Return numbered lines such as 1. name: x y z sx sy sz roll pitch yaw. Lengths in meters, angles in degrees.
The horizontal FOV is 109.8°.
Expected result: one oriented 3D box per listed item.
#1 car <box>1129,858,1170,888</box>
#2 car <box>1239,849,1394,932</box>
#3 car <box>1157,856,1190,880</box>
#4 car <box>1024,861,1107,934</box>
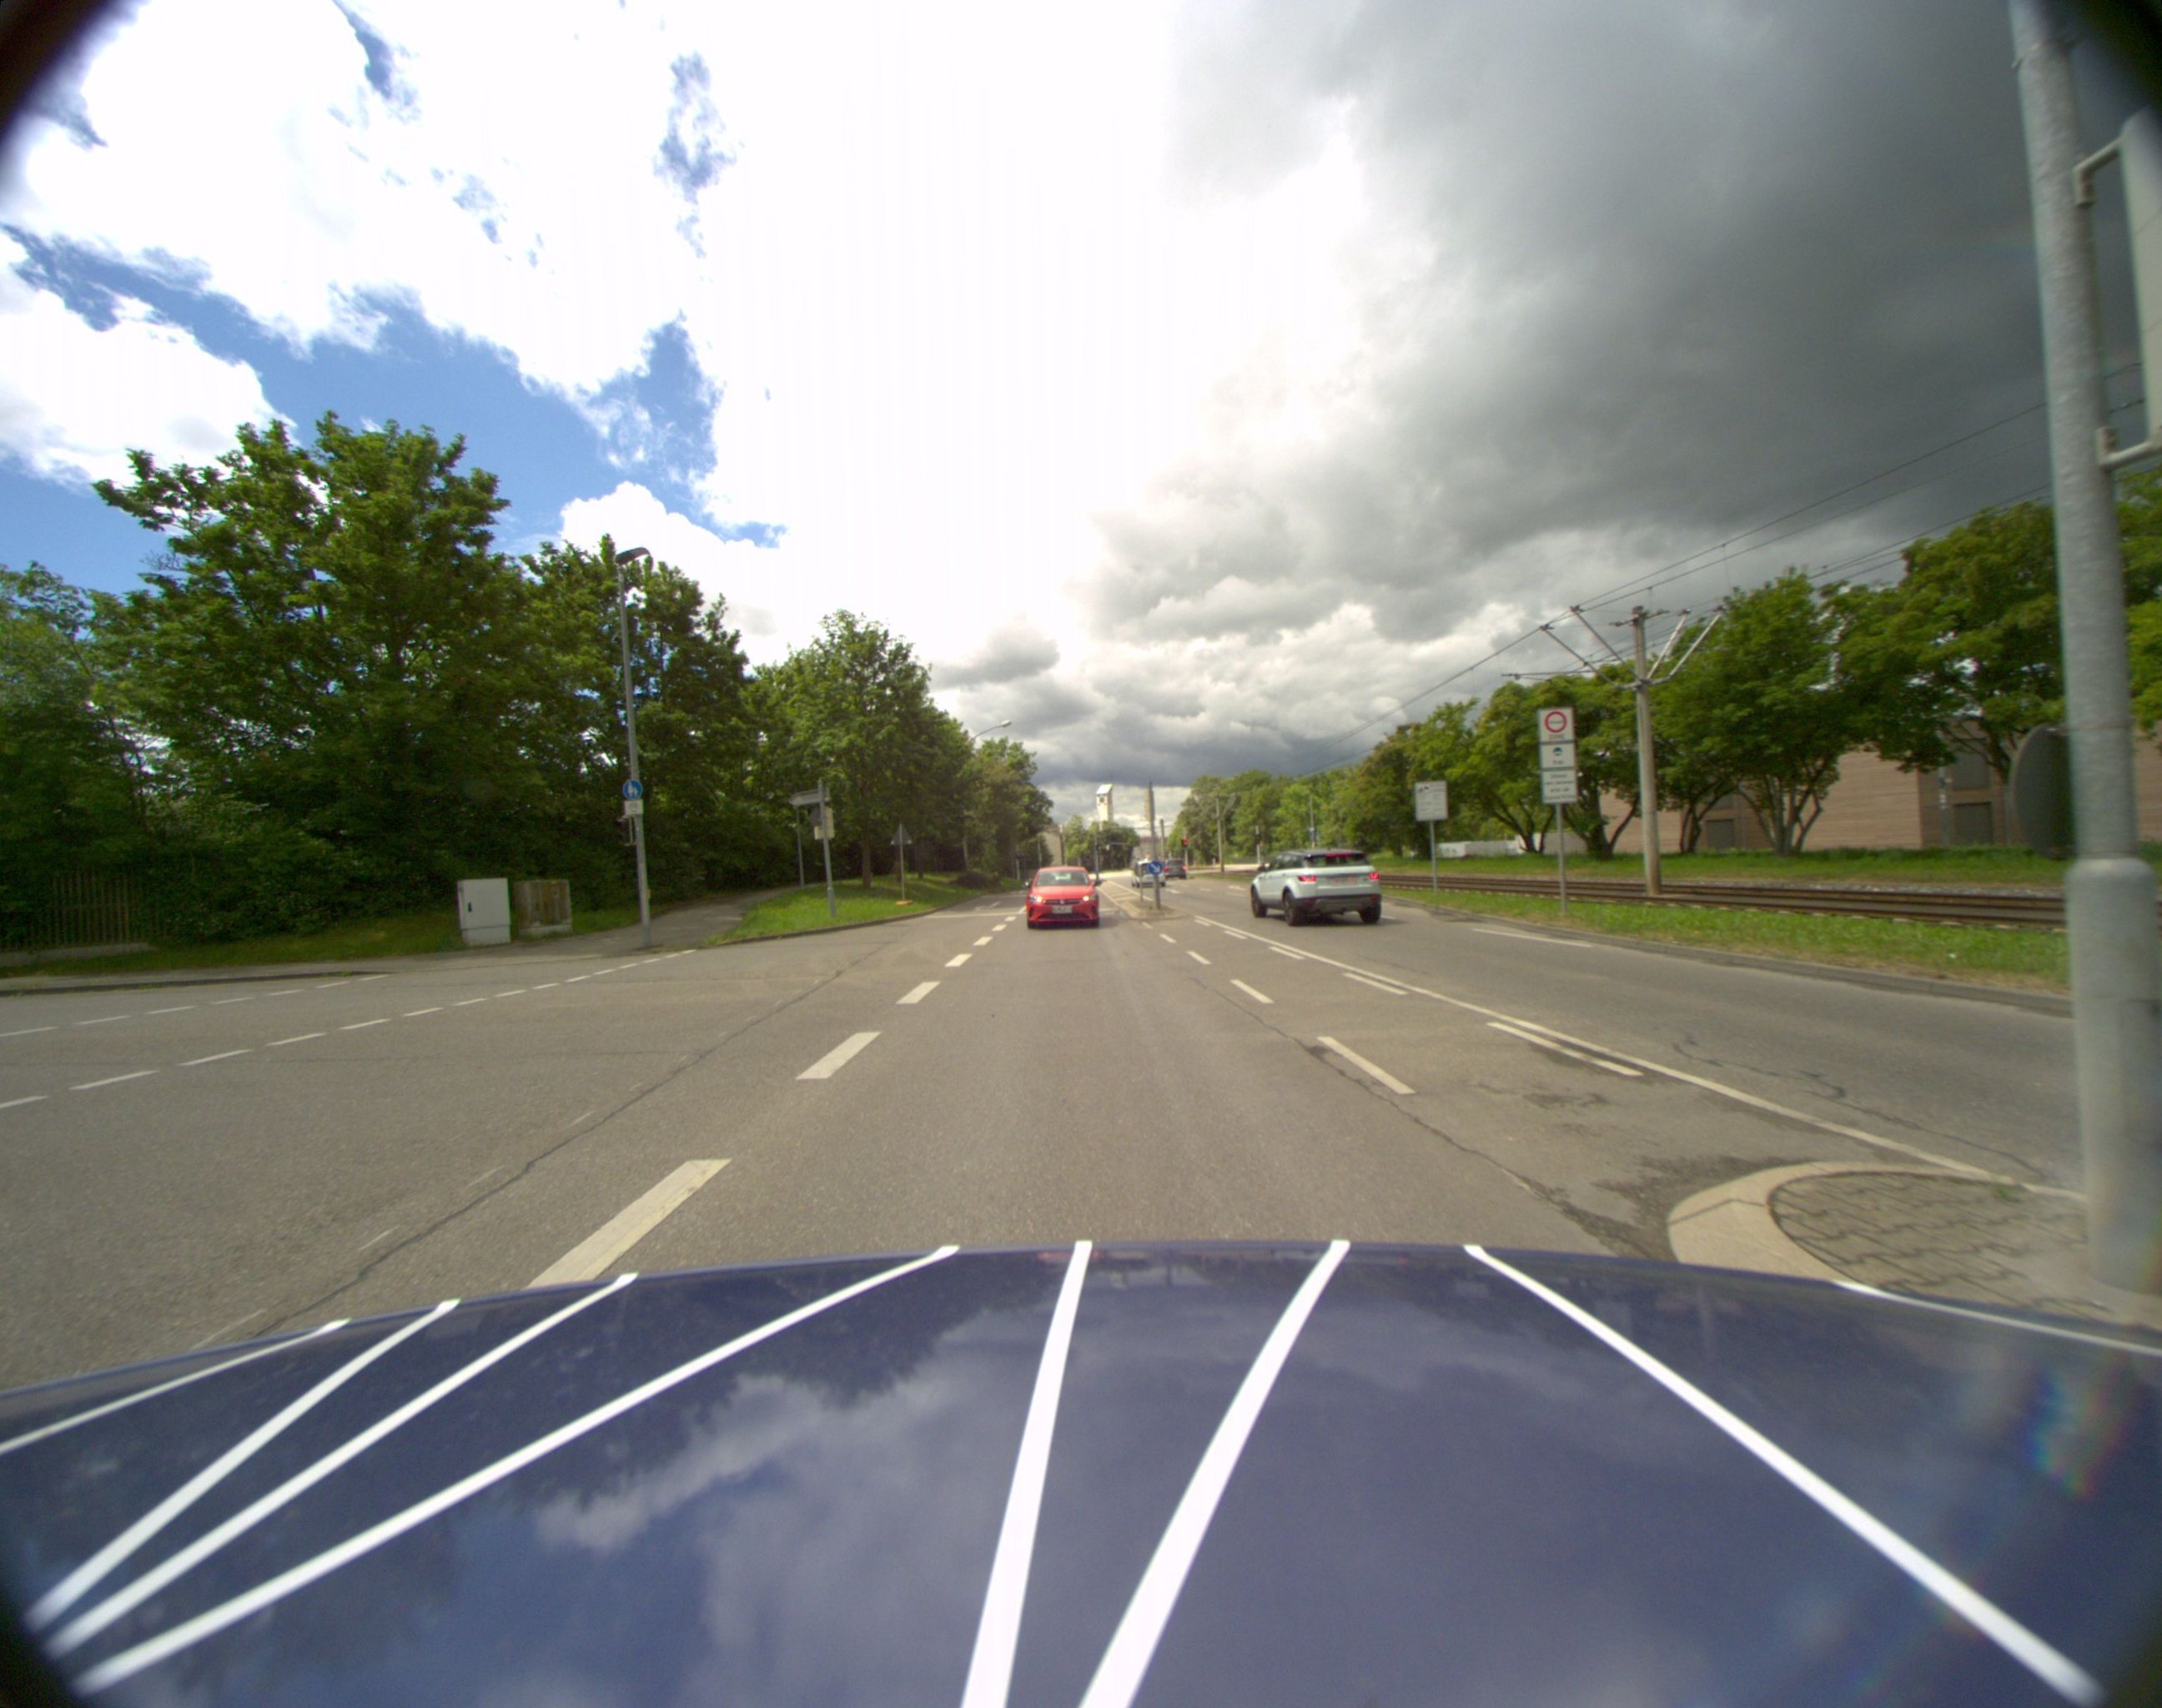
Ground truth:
1. car: 3.983 1.090 44.814 1.733 1.603 4.262 -2 0 -3
2. car: 5.179 0.724 17.439 1.865 1.601 4.606 -2 0 -4
3. car: 7.175 1.065 59.343 1.998 1.650 4.522 -4 0 1
4. car: -0.407 1.011 19.667 1.790 1.453 4.852 -4 0 -1
